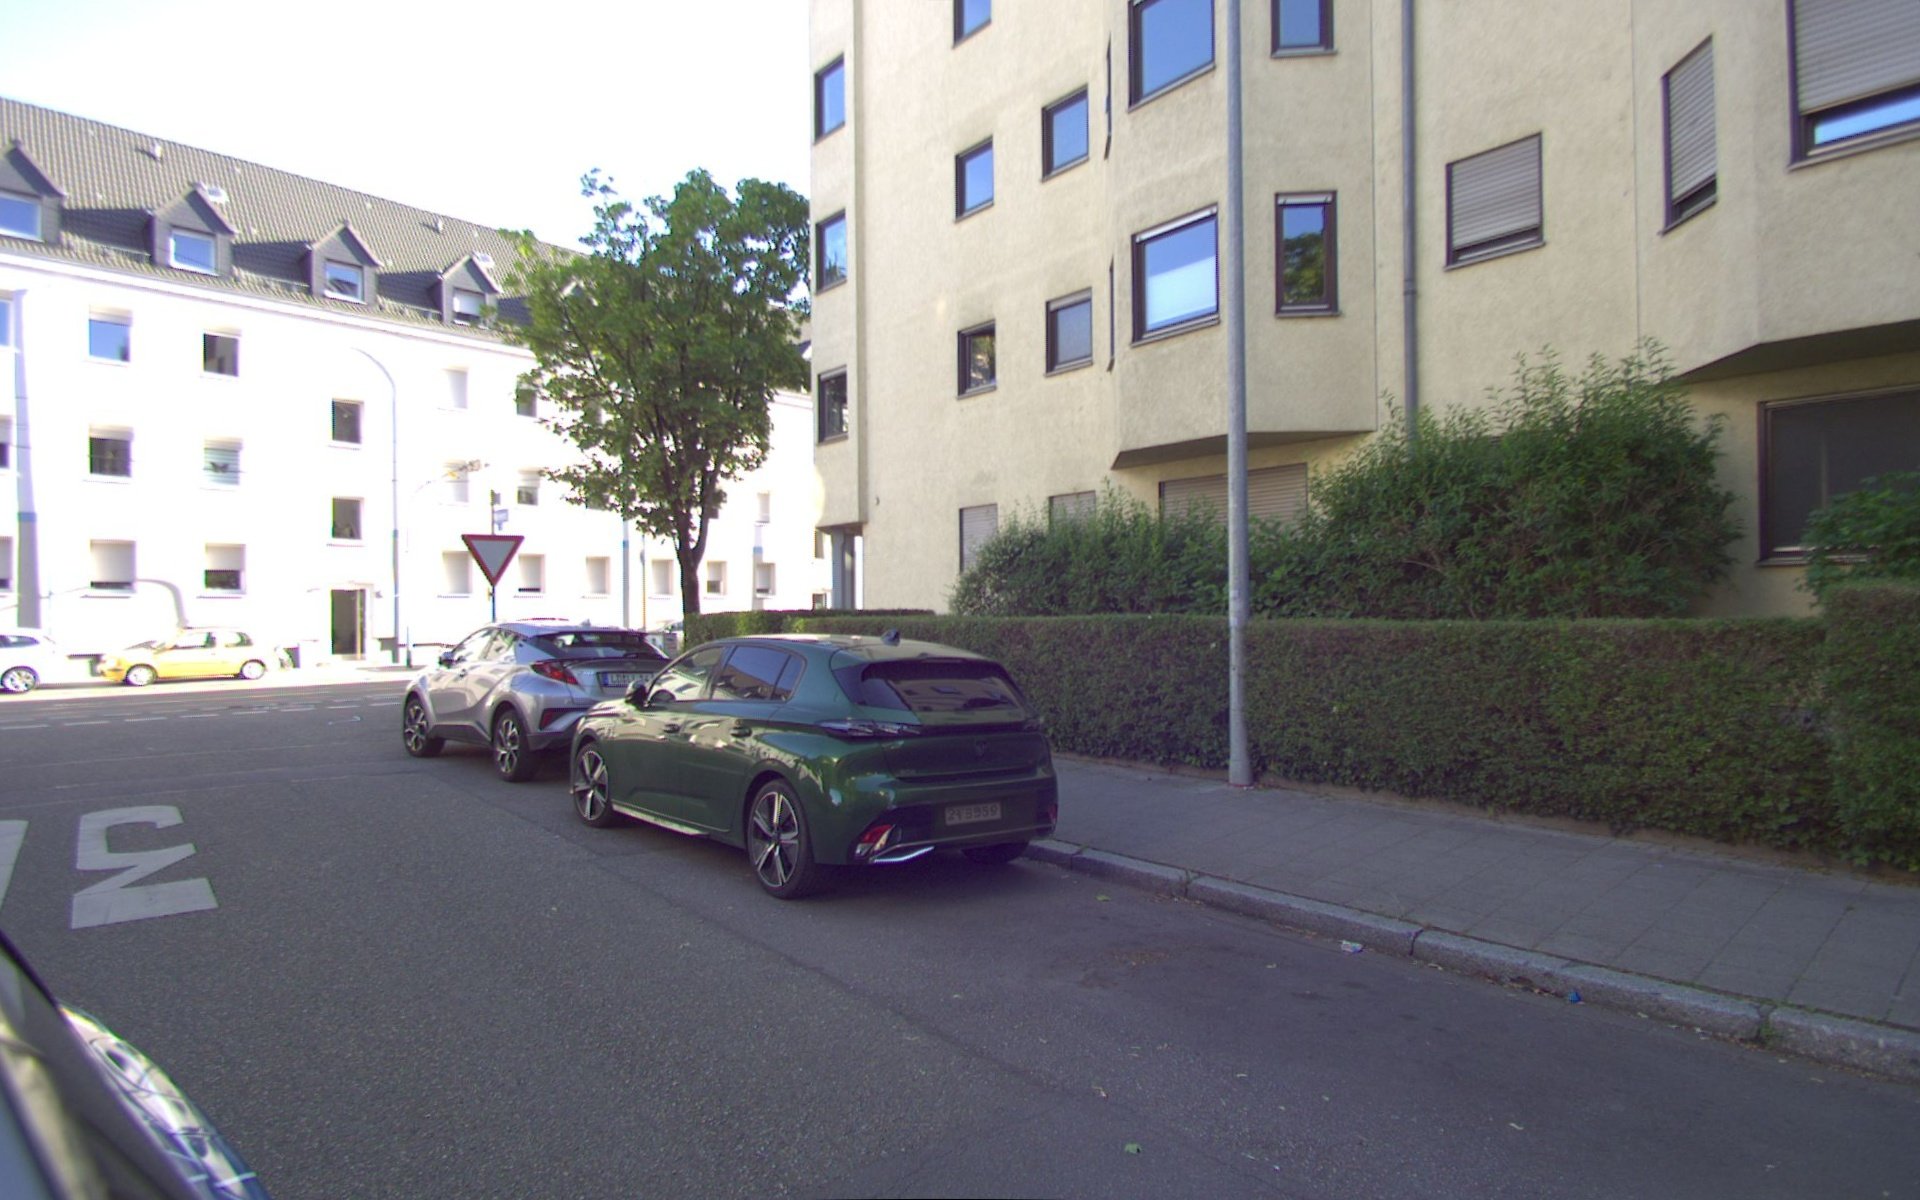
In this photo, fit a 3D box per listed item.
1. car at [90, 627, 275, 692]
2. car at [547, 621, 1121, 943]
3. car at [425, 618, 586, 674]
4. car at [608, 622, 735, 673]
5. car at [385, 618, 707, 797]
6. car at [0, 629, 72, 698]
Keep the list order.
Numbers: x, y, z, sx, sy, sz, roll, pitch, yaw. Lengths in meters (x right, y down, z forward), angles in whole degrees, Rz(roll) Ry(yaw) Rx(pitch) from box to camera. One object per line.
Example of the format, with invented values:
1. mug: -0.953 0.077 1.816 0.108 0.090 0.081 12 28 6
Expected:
1. car: -19.879 1.470 25.980 1.554 1.459 3.564 0 0 41
2. car: -1.122 0.935 6.813 1.744 1.464 4.213 4 -4 -41
3. car: -14.394 1.410 32.212 1.998 1.569 4.228 -2 -1 40
4. car: -10.302 1.687 36.372 1.922 1.698 4.020 -2 -3 40
5. car: -4.582 1.012 10.908 4.075 1.567 1.699 -2 -3 44
6. car: -22.877 1.452 22.600 1.945 1.518 4.430 -2 -1 43
